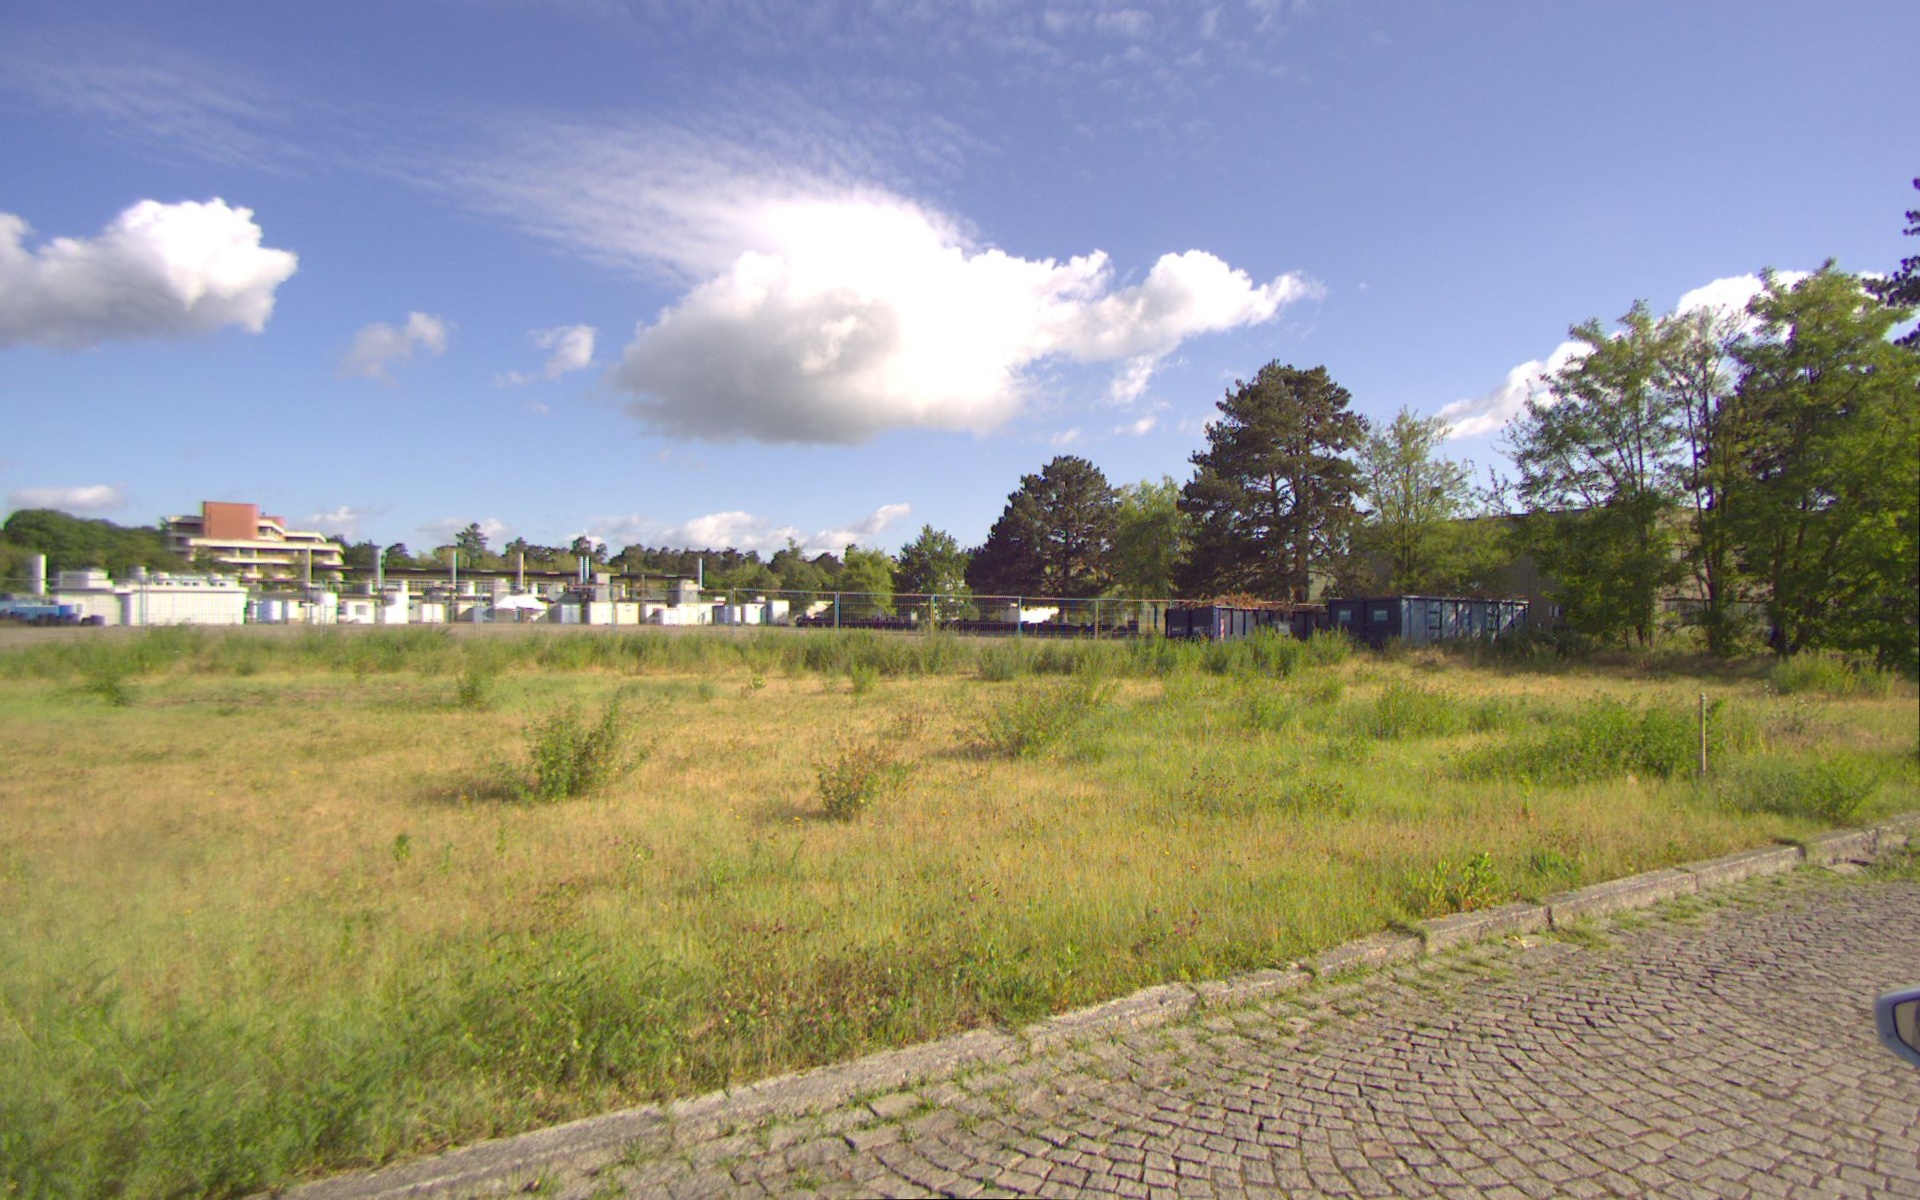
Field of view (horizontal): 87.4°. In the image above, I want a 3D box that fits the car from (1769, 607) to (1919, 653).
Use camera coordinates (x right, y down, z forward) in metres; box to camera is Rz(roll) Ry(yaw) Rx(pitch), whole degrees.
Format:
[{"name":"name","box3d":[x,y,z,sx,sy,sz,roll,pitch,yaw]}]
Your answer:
[{"name":"car","box3d":[33.795,1.112,38.343,1.985,1.630,4.127,1,-1,-28]}]
